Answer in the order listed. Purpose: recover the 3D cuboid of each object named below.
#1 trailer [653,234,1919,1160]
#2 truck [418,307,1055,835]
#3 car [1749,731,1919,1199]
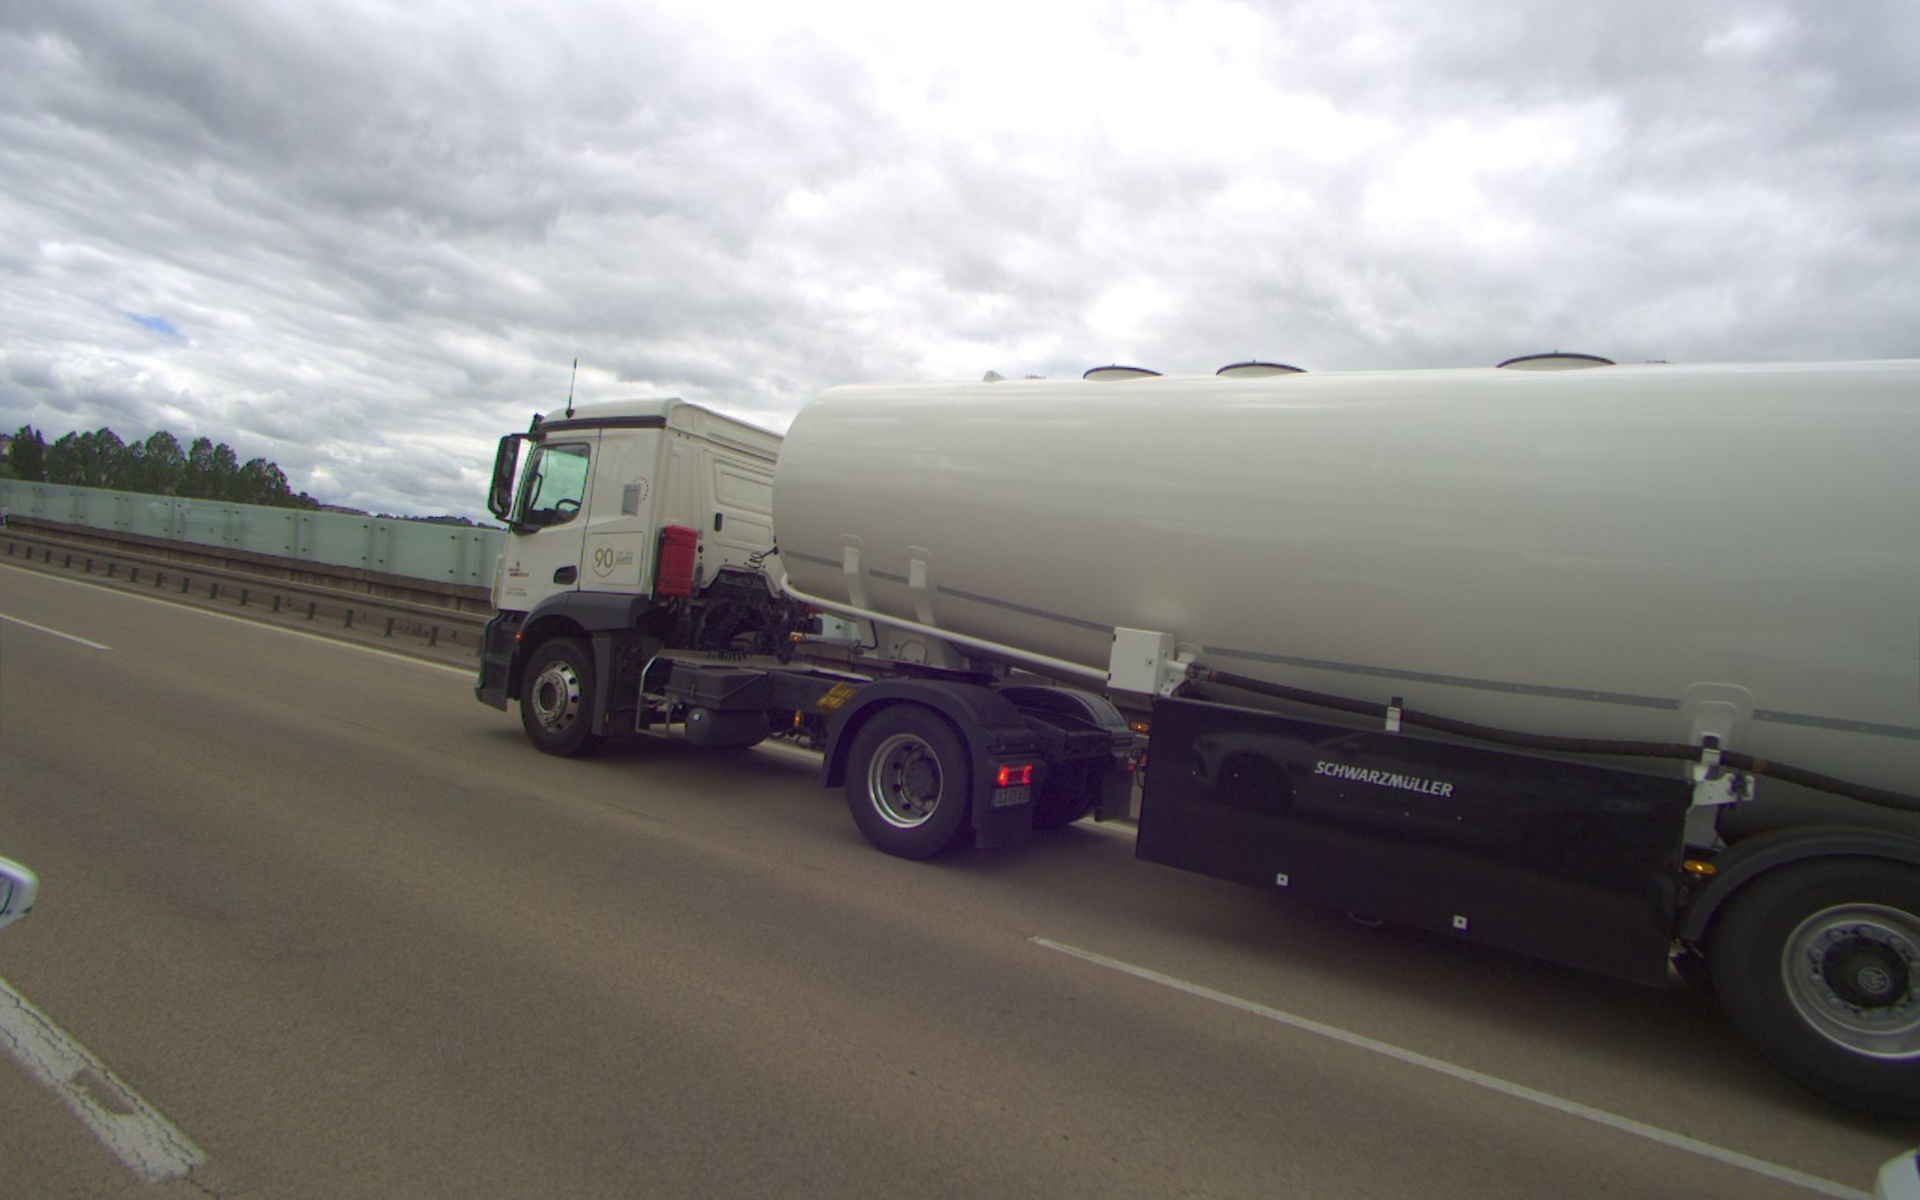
[{"bbox_3d":[3.238,0.328,5.794,11.035,3.585,2.655,7,-1,32],"label":"trailer"},{"bbox_3d":[-2.071,-0.296,9.130,4.823,3.555,2.635,6,-1,32],"label":"truck"},{"bbox_3d":[3.513,1.228,0.984,4.004,1.469,1.757,7,-1,31],"label":"car"}]
